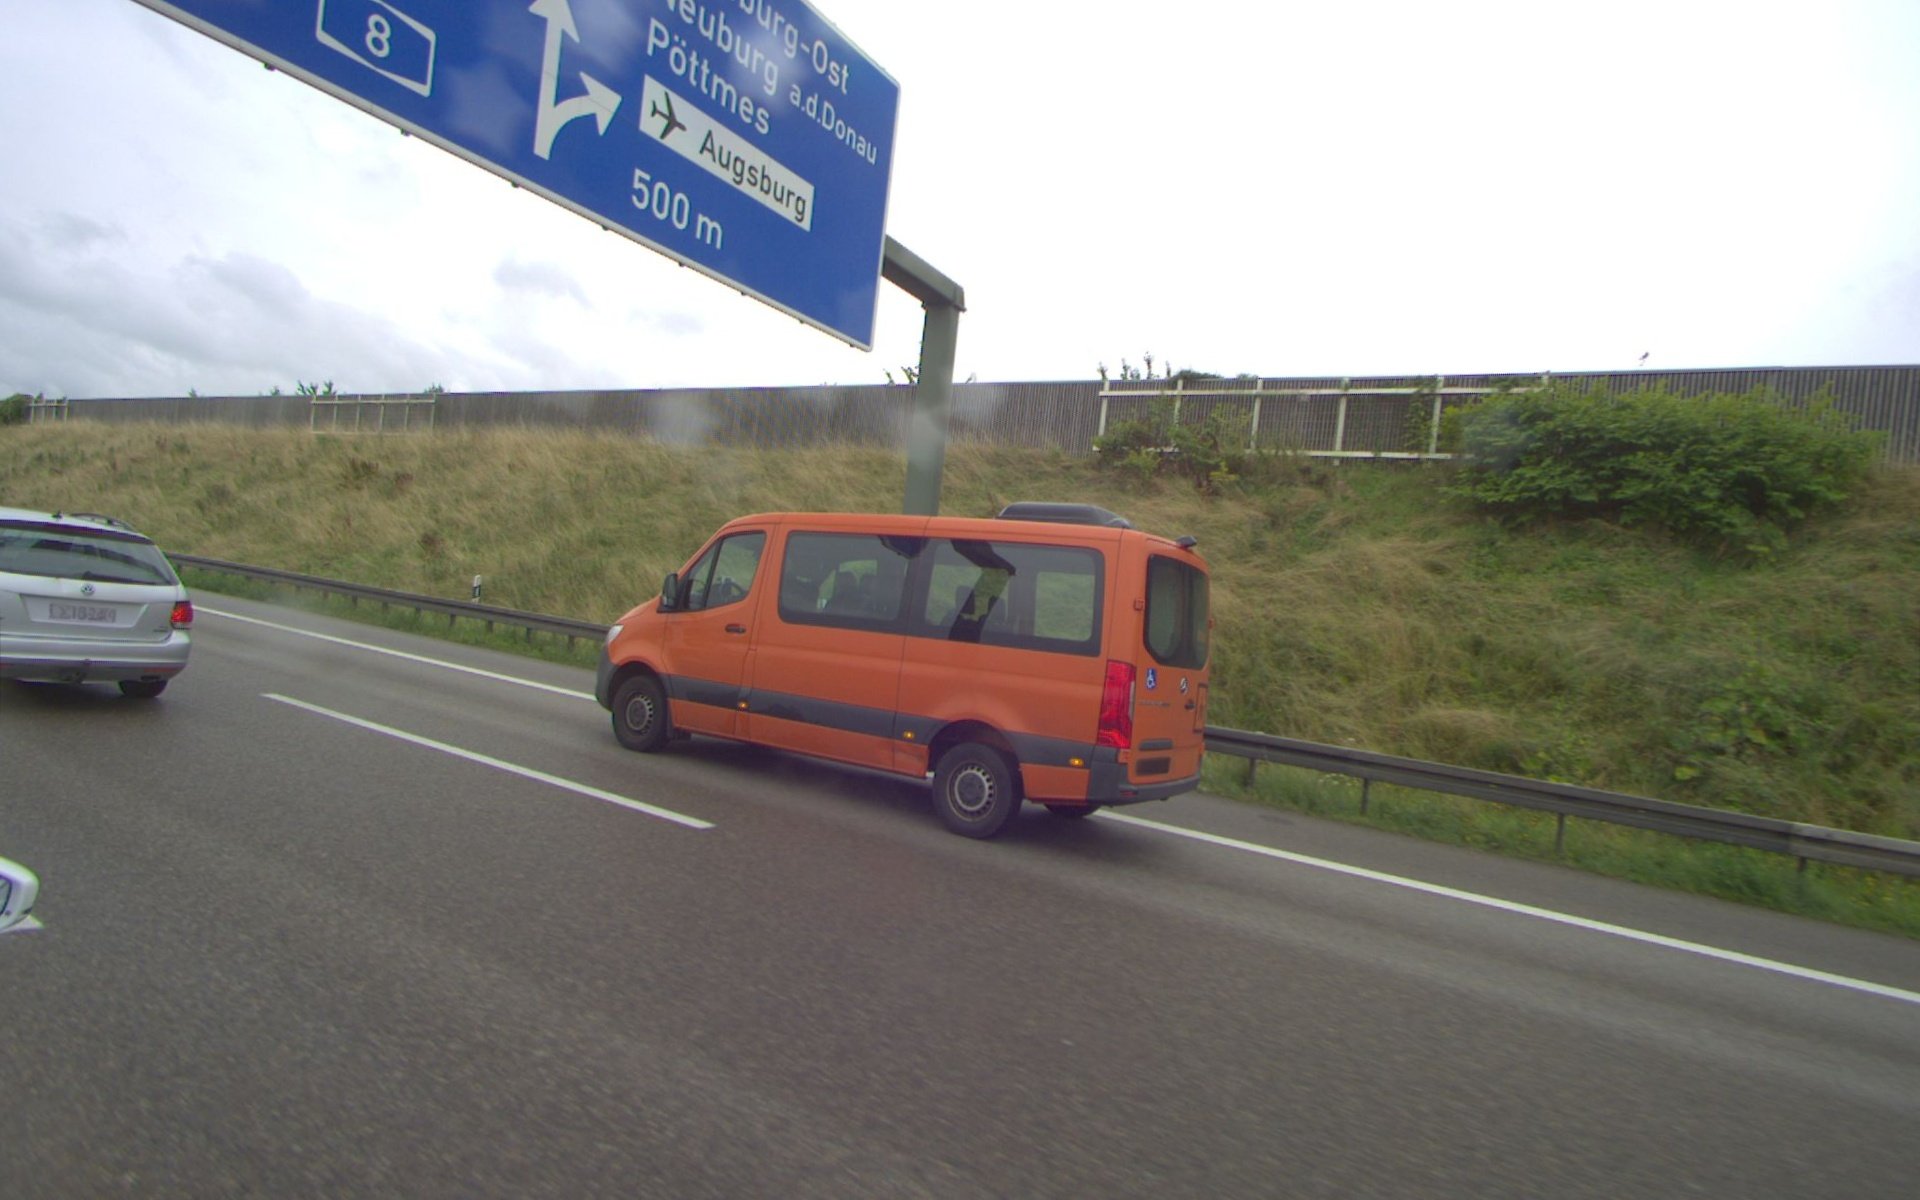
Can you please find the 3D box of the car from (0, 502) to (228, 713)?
[{"bbox_3d":[-8.281,-0.117,8.490,4.441,1.442,1.744,7,0,31],"label":"car"}]

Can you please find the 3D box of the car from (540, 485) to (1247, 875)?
[{"bbox_3d":[-0.848,0.430,9.092,6.078,2.343,2.089,7,-1,32],"label":"car"}]

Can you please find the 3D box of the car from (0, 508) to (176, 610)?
[{"bbox_3d":[-16.108,-0.779,18.176,3.811,1.417,1.706,6,-2,31],"label":"car"}]
